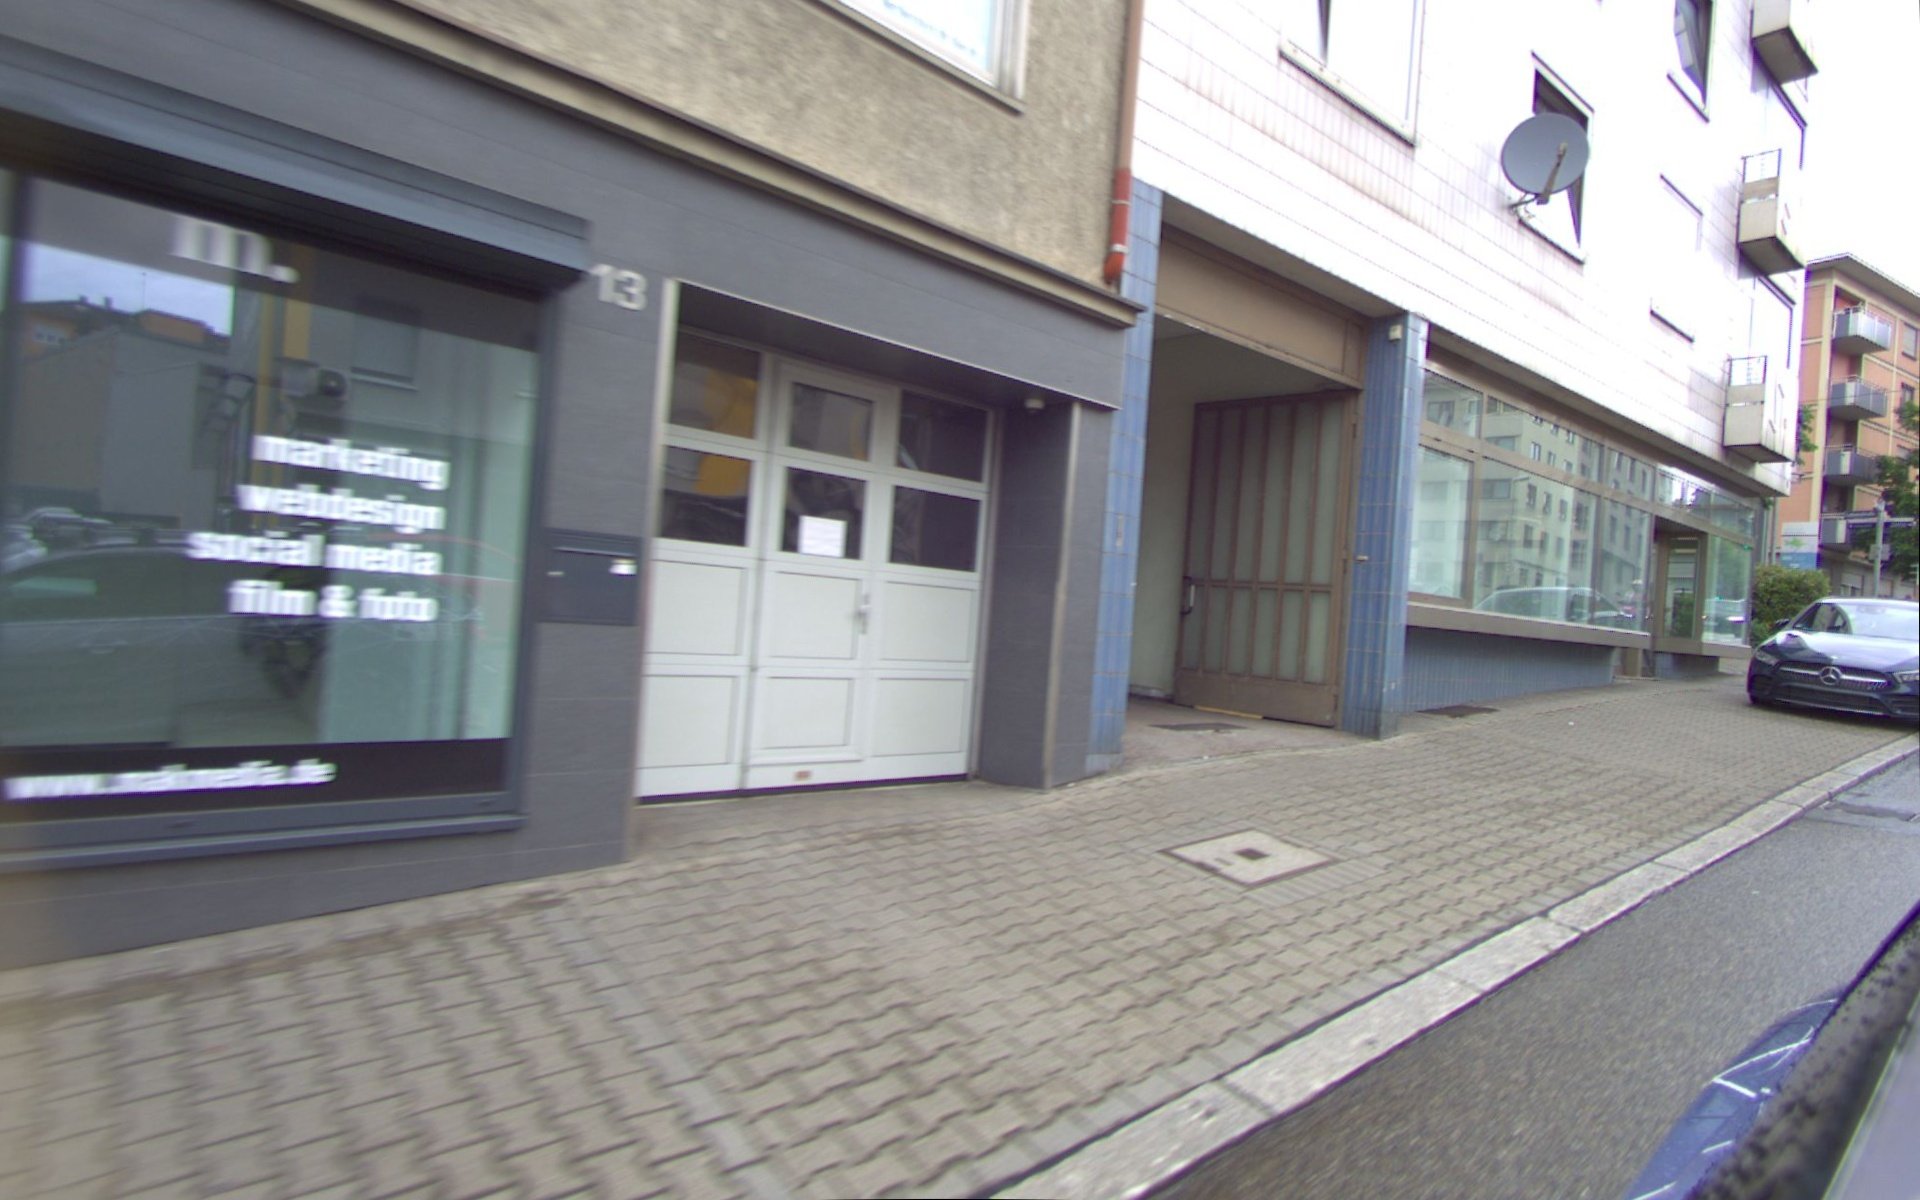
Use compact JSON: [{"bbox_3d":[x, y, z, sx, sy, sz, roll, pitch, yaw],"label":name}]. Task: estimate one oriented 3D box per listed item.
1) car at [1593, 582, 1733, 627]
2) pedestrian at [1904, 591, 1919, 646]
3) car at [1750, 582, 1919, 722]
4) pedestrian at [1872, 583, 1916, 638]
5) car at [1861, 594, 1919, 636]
[{"bbox_3d":[27.028,0.132,39.053,1.812,1.507,4.006,2,1,-29],"label":"car"},{"bbox_3d":[30.054,0.593,31.408,0.751,1.667,0.704,7,1,24],"label":"pedestrian"},{"bbox_3d":[11.709,0.552,12.647,4.298,1.408,1.770,0,5,-37],"label":"car"},{"bbox_3d":[29.702,0.342,32.186,0.704,1.667,0.751,7,1,28],"label":"pedestrian"},{"bbox_3d":[39.051,0.725,39.963,1.812,1.573,4.805,3,2,-28],"label":"car"}]
